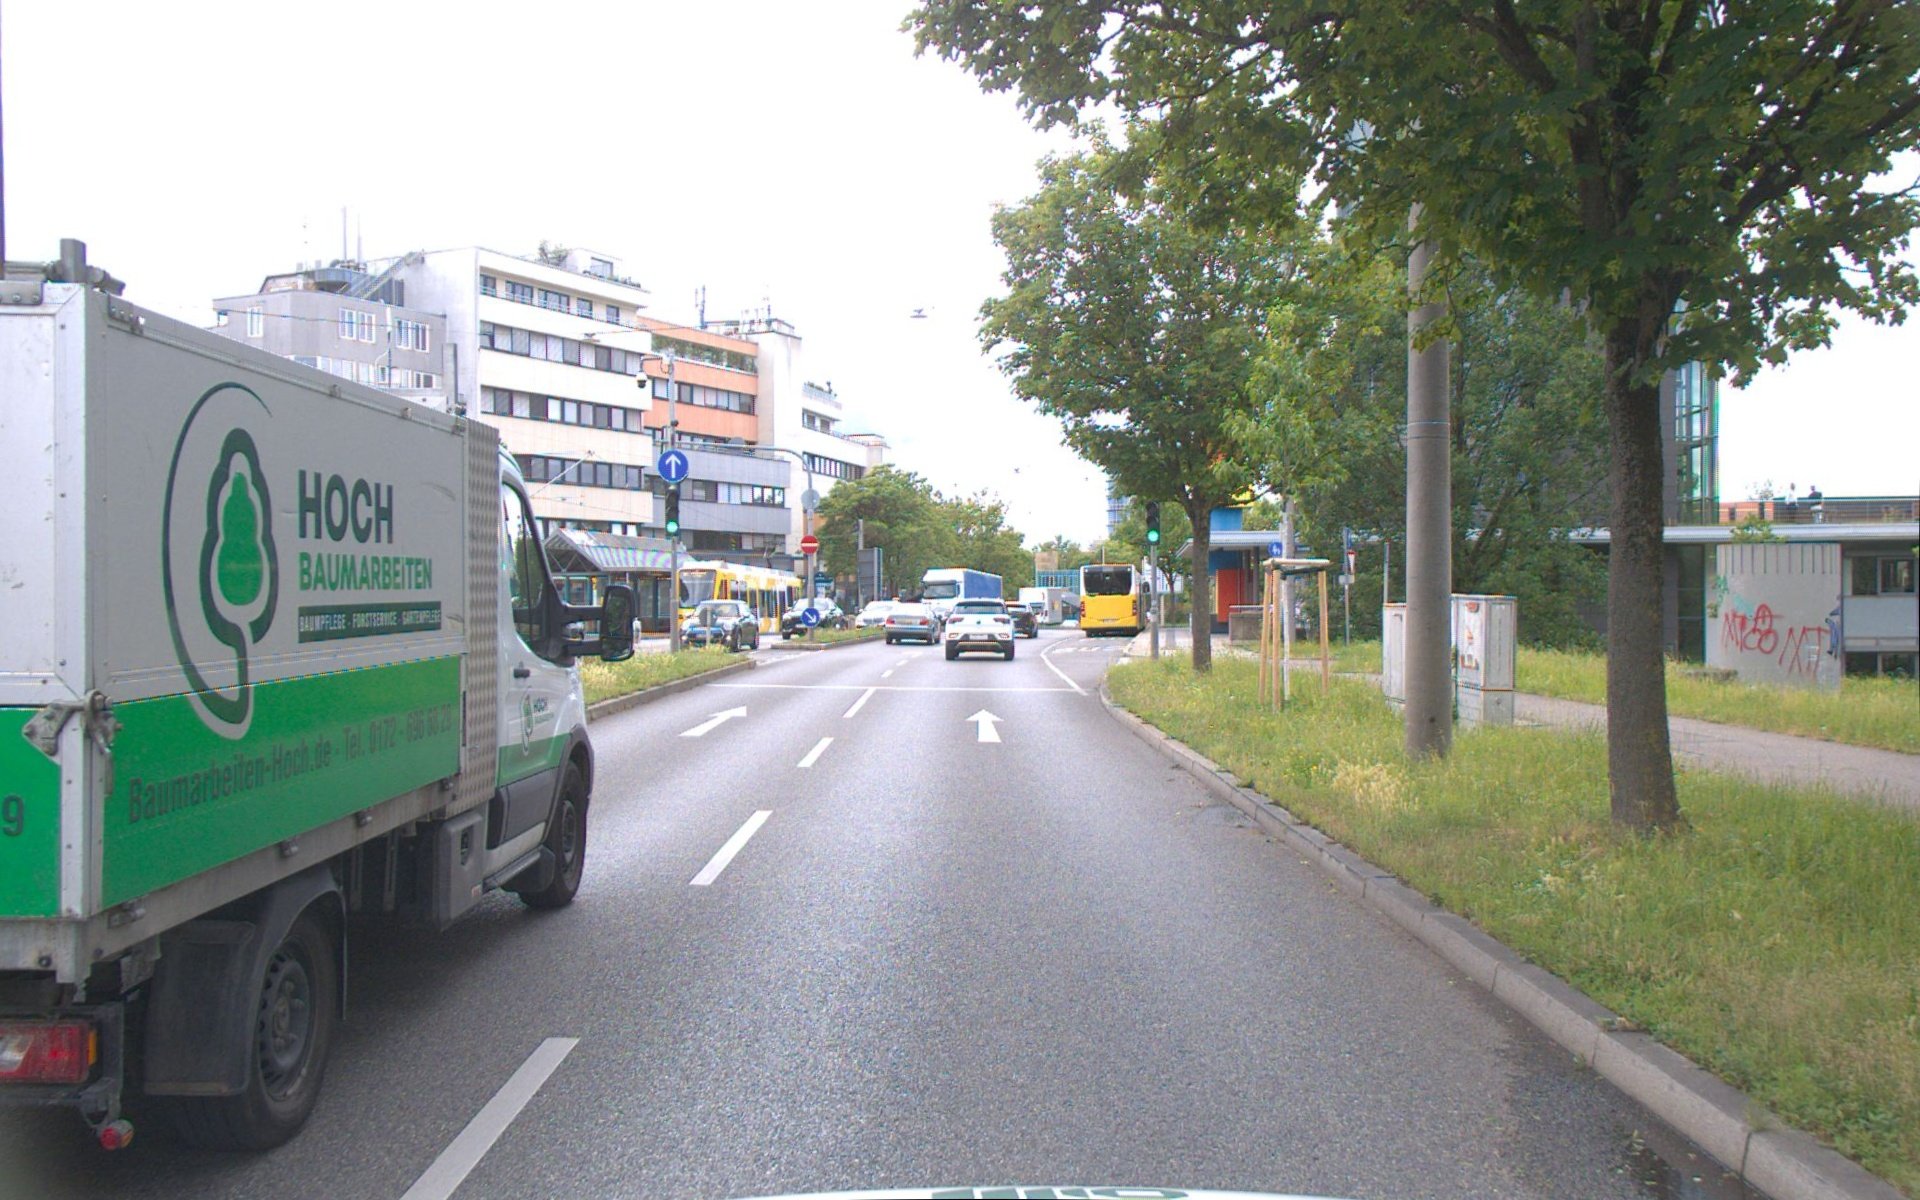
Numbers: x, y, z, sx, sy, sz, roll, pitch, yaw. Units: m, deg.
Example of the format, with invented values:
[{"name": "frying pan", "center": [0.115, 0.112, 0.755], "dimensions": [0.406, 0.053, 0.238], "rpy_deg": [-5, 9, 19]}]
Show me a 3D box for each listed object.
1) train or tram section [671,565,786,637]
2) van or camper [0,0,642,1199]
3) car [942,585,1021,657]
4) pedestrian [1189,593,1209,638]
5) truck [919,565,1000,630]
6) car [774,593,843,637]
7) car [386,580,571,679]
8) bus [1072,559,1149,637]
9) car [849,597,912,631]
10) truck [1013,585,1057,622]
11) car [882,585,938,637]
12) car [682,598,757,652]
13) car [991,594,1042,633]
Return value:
[{"name": "train or tram section", "center": [-11.822, 0.077, 85.932], "dimensions": [2.505, 3.470, 13.092], "rpy_deg": [-1, 0, 7]}, {"name": "van or camper", "center": [-2.812, 0.084, 5.923], "dimensions": [2.296, 2.708, 5.964], "rpy_deg": [1, 1, -2]}, {"name": "car", "center": [0.595, 0.509, 43.306], "dimensions": [1.664, 1.574, 3.740], "rpy_deg": [3, 3, 6]}, {"name": "pedestrian", "center": [9.909, 0.638, 68.644], "dimensions": [0.695, 1.847, 0.764], "rpy_deg": [0, 0, -2]}, {"name": "truck", "center": [0.158, -0.188, 115.380], "dimensions": [2.891, 4.151, 16.616], "rpy_deg": [0, 0, 10]}, {"name": "car", "center": [-5.825, 0.595, 64.117], "dimensions": [1.857, 1.646, 4.278], "rpy_deg": [-1, -1, 6]}, {"name": "car", "center": [-8.745, 0.500, 30.526], "dimensions": [1.953, 1.618, 4.834], "rpy_deg": [2, 0, 0]}, {"name": "bus", "center": [7.105, -0.091, 76.809], "dimensions": [2.891, 3.246, 9.937], "rpy_deg": [-2, 0, 9]}, {"name": "car", "center": [-3.631, 0.630, 76.595], "dimensions": [1.923, 1.525, 4.779], "rpy_deg": [0, 0, 9]}, {"name": "truck", "center": [6.541, 0.313, 142.864], "dimensions": [3.017, 3.081, 9.365], "rpy_deg": [0, 0, 7]}, {"name": "car", "center": [-1.675, 0.358, 56.851], "dimensions": [1.664, 1.542, 3.739], "rpy_deg": [0, 3, 2]}, {"name": "car", "center": [-6.859, 0.707, 47.440], "dimensions": [1.581, 1.471, 3.652], "rpy_deg": [0, -1, 0]}, {"name": "car", "center": [2.440, 0.568, 70.622], "dimensions": [1.663, 1.542, 3.497], "rpy_deg": [0, 1, 10]}]
